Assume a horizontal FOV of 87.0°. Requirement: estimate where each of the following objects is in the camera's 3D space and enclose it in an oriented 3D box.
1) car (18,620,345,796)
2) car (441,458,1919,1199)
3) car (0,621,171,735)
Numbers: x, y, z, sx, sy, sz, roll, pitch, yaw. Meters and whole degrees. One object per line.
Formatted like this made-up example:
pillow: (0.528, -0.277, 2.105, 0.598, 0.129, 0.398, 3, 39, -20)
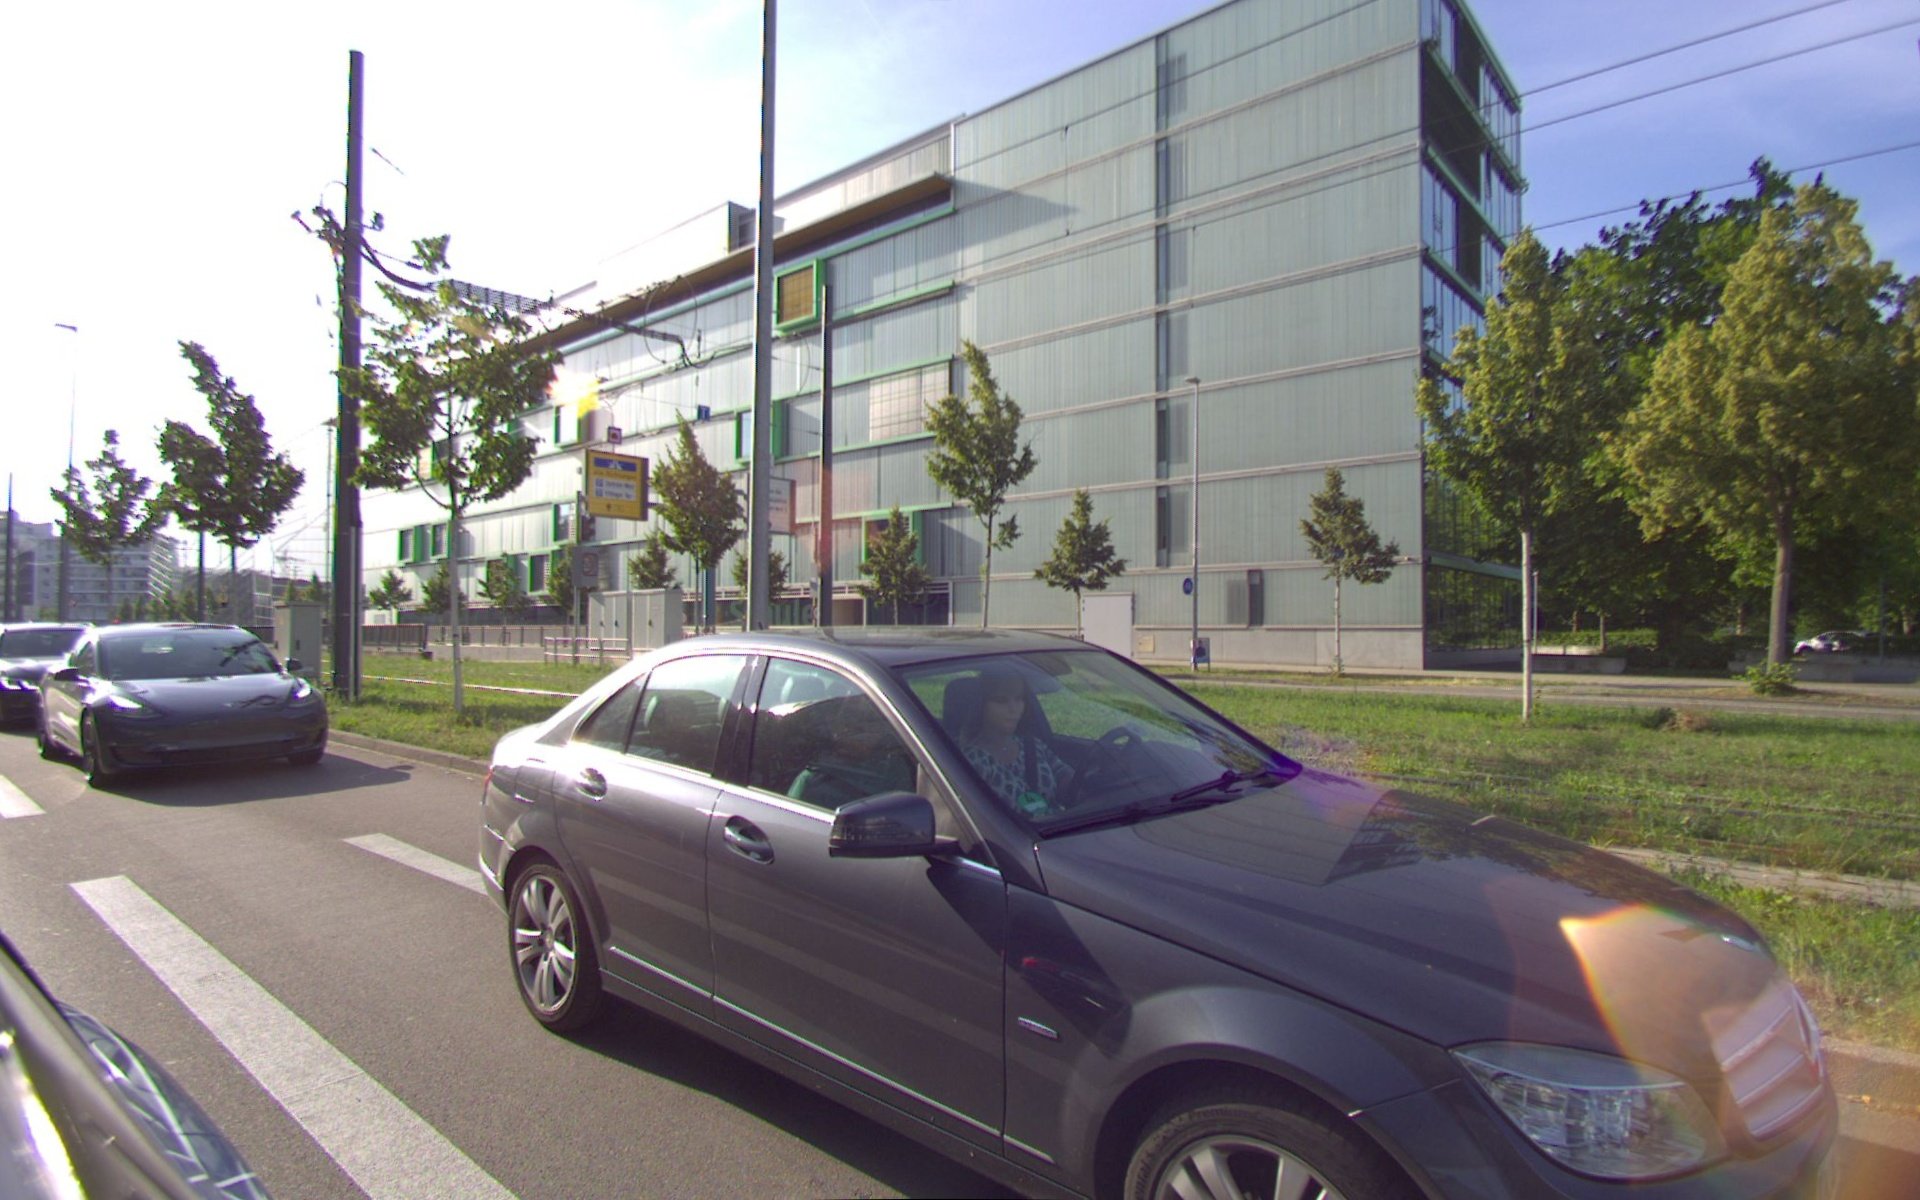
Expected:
car: (-8.137, 0.958, 10.421, 4.332, 1.396, 1.870, -2, -1, 41)
car: (0.091, 0.635, 3.273, 4.353, 1.490, 1.767, -2, -1, 43)
car: (-13.701, 1.091, 15.235, 4.467, 1.437, 1.872, -2, -1, 38)
